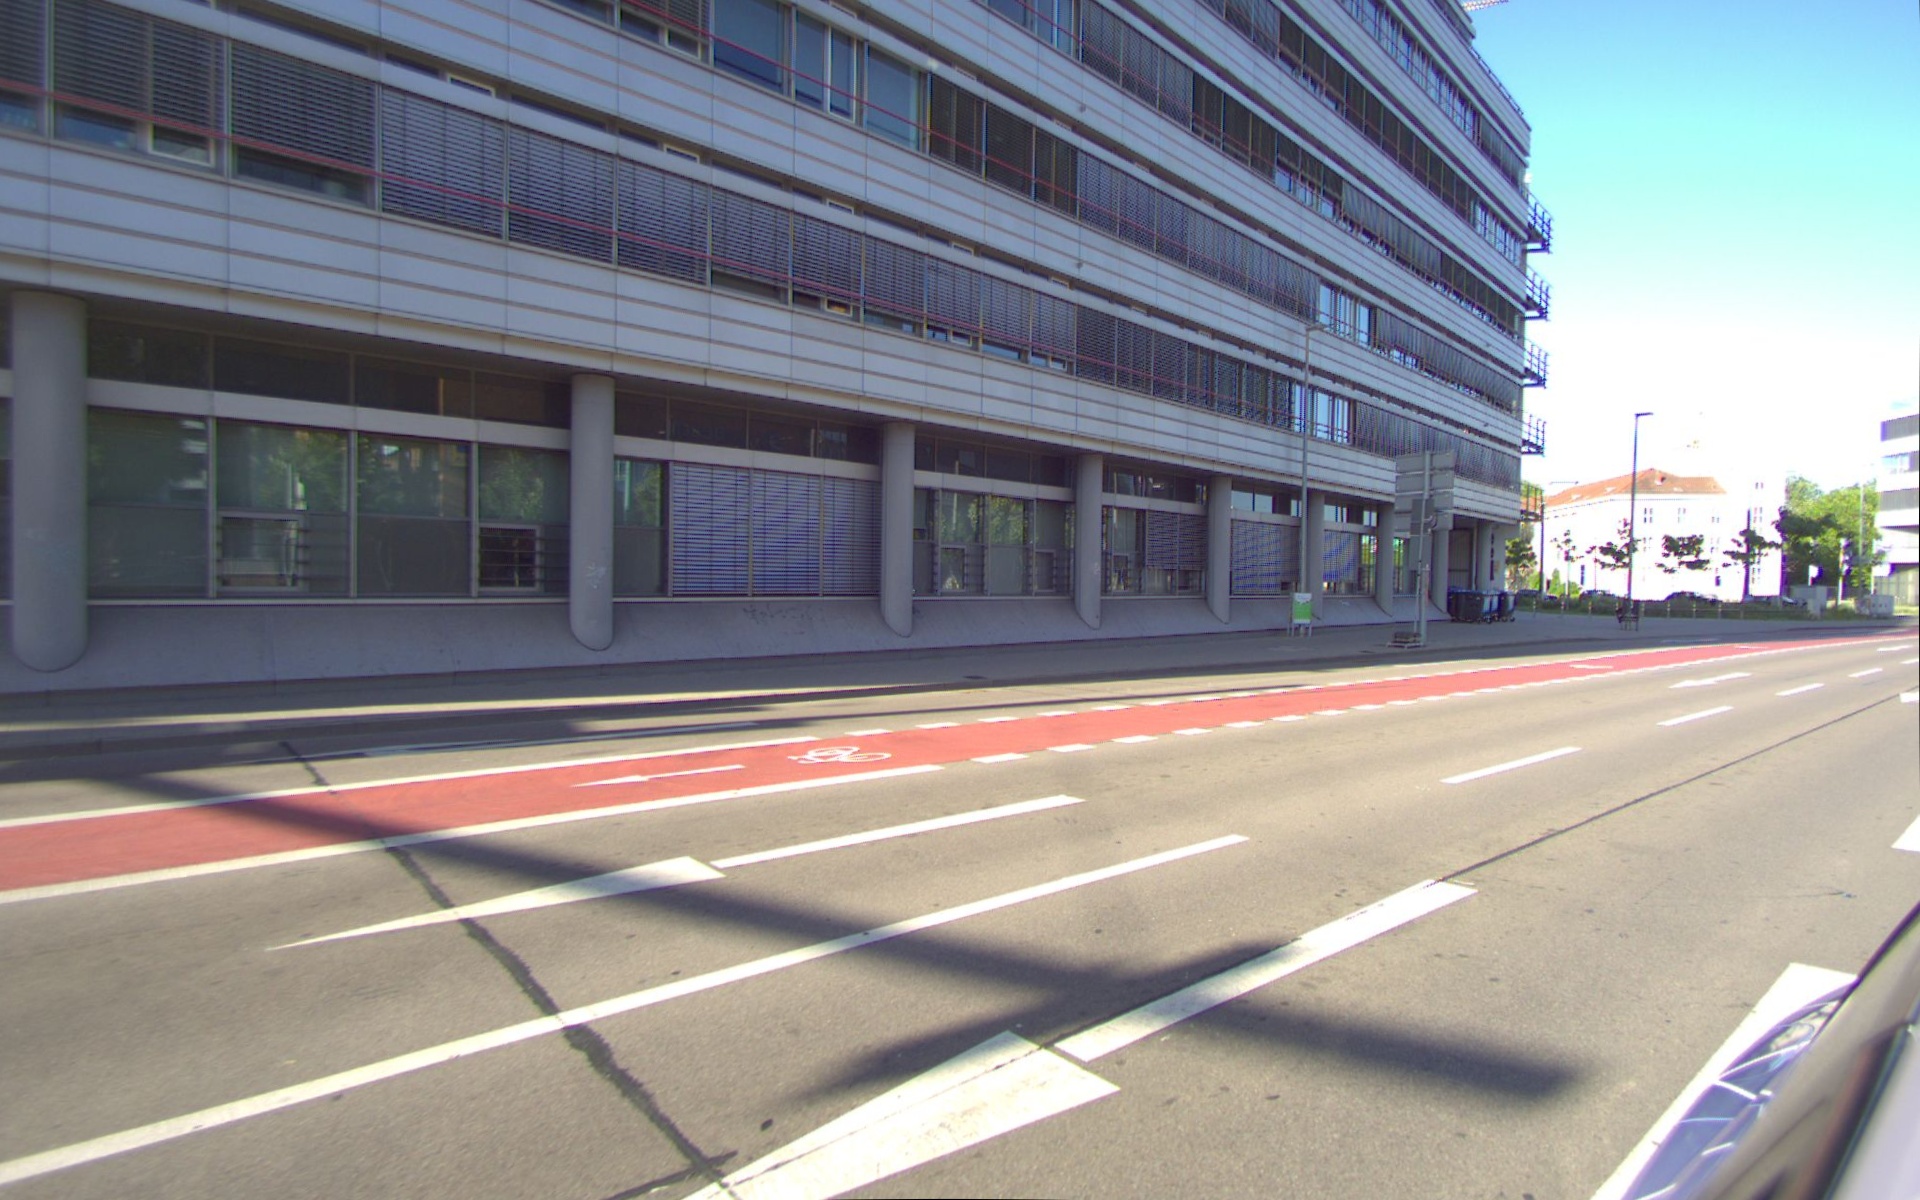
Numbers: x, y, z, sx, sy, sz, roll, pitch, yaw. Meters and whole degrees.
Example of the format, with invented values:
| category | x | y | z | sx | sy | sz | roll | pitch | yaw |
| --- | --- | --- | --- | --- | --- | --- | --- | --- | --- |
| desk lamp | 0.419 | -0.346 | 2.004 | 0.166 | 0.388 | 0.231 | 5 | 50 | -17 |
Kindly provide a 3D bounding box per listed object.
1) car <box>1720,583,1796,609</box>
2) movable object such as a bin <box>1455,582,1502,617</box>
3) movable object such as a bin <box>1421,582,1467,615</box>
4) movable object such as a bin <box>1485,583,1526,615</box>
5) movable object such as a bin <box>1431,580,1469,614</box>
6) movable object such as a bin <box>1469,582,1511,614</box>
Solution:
| category | x | y | z | sx | sy | sz | roll | pitch | yaw |
| --- | --- | --- | --- | --- | --- | --- | --- | --- | --- |
| car | 51.285 | -0.263 | 65.132 | 1.706 | 1.551 | 3.805 | 1 | 2 | -4 |
| movable object such as a bin | 20.636 | -0.029 | 40.293 | 1.153 | 1.317 | 1.327 | 0 | 2 | -40 |
| movable object such as a bin | 19.787 | -0.081 | 41.361 | 1.153 | 1.317 | 1.327 | 0 | 2 | -40 |
| movable object such as a bin | 23.572 | -0.062 | 43.720 | 1.305 | 1.317 | 1.173 | 0 | 2 | -40 |
| movable object such as a bin | 20.840 | -0.150 | 43.053 | 1.088 | 1.391 | 1.109 | 0 | 1 | -40 |
| movable object such as a bin | 22.484 | -0.079 | 42.962 | 1.305 | 1.317 | 1.173 | 0 | 2 | -40 |
